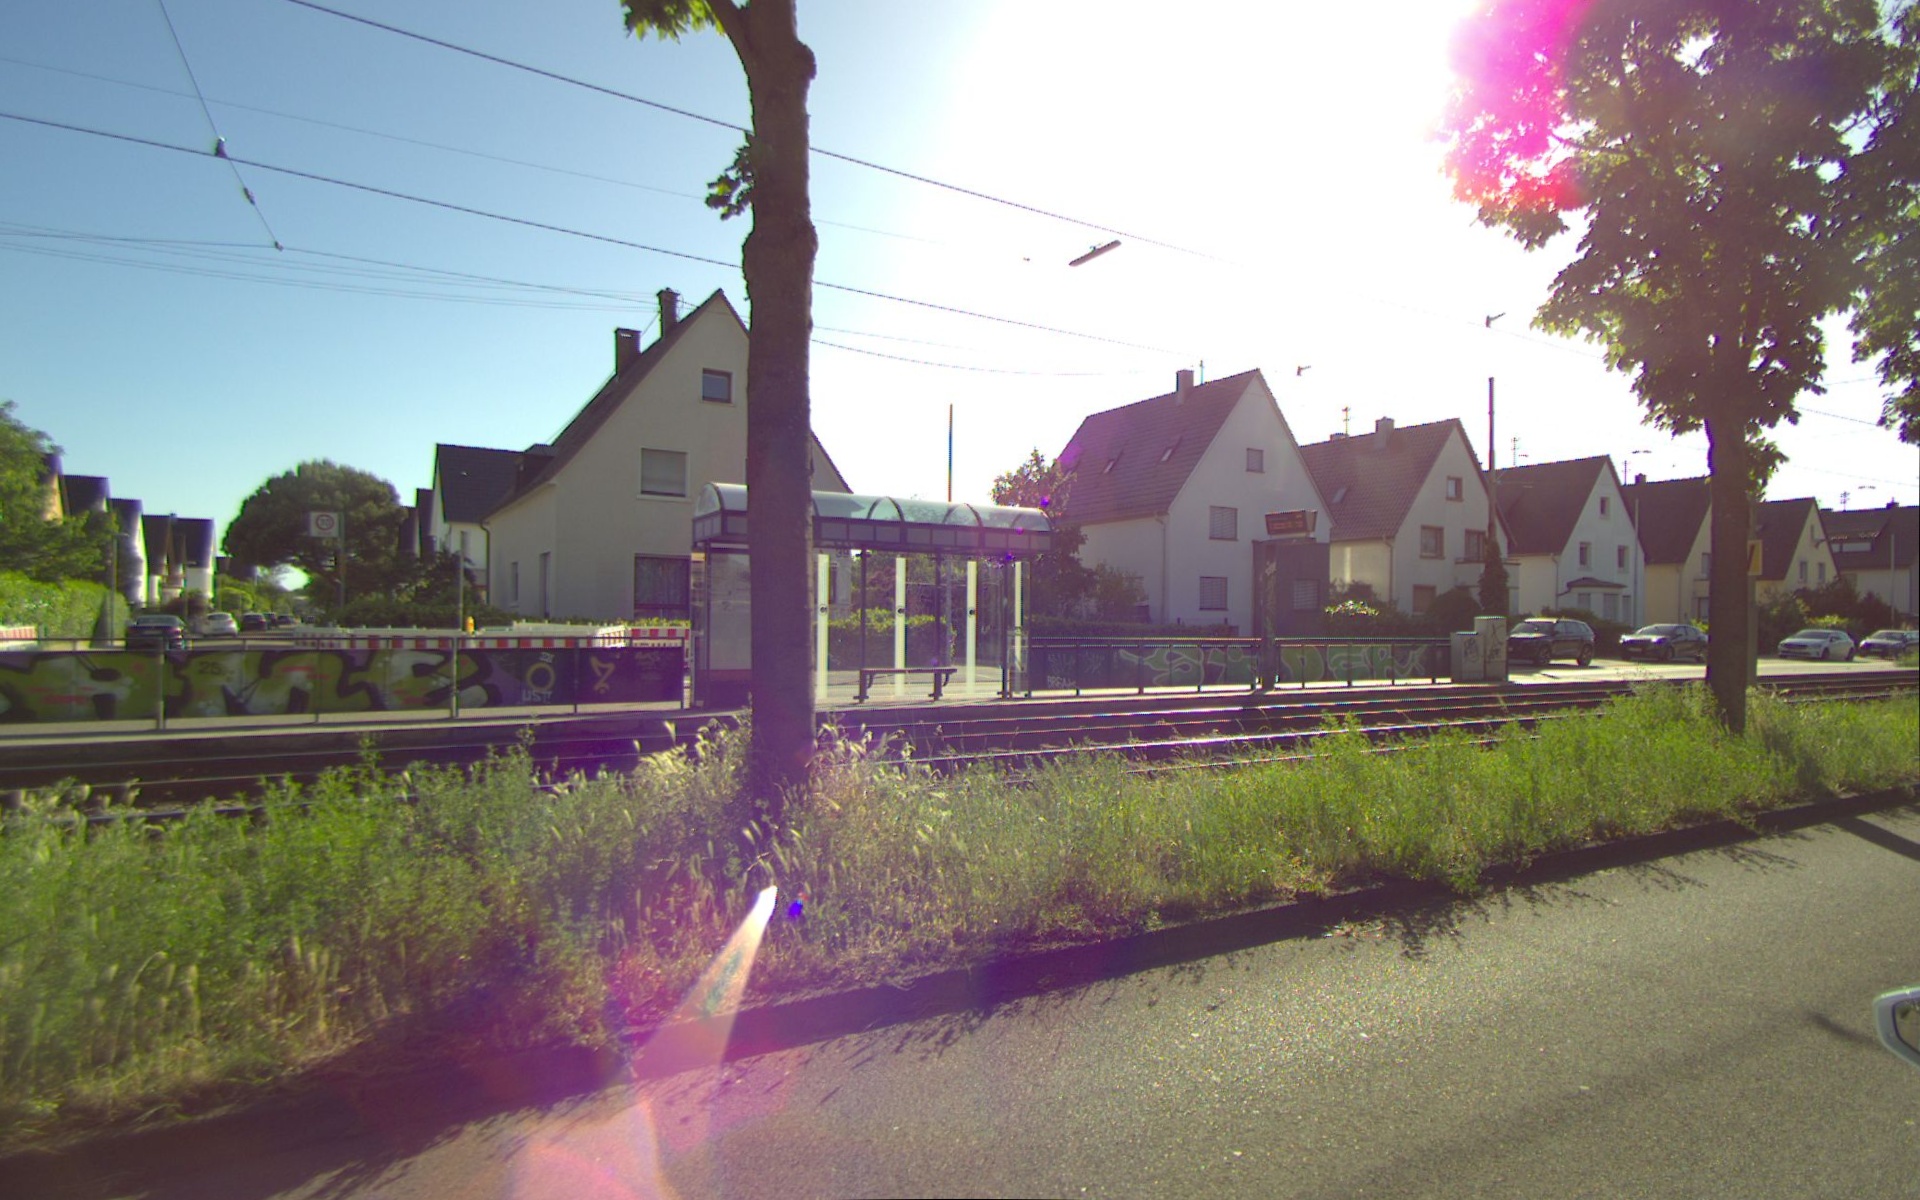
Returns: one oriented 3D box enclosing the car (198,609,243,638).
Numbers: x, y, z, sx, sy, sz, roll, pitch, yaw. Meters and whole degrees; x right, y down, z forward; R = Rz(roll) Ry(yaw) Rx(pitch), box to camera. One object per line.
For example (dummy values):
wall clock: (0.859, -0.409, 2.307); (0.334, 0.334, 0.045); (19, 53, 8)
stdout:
car: (-44.446, 1.403, 60.451); (1.979, 1.606, 3.962); (1, 0, -34)

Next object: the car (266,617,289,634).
car: (-72.428, 2.675, 106.616); (1.979, 1.606, 3.962); (1, 0, -34)

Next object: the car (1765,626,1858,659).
car: (40.995, 2.038, 48.357); (4.356, 1.445, 1.985); (2, 0, -29)

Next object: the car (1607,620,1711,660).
car: (28.699, 1.642, 41.200); (4.206, 1.515, 1.916); (2, 0, -31)

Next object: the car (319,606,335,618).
car: (-99.470, 1.883, 157.843); (1.979, 1.606, 3.962); (1, 0, -34)

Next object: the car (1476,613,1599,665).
car: (21.099, 1.405, 36.672); (4.340, 1.736, 1.984); (2, 0, -31)

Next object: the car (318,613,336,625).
car: (-90.476, 2.671, 143.522); (1.979, 1.606, 3.962); (1, 0, -34)

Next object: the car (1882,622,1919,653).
car: (52.708, 2.070, 55.154); (4.009, 1.574, 1.937); (2, 0, -31)

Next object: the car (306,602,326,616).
car: (-79.357, 1.046, 123.779); (1.979, 1.606, 3.962); (1, 0, -34)

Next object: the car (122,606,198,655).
car: (-29.421, 1.090, 37.048); (1.830, 1.606, 3.962); (1, 0, -34)

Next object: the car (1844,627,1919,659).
car: (48.492, 2.244, 52.674); (4.080, 1.469, 1.983); (2, 2, -31)

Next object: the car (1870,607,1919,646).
car: (67.680, 1.858, 70.729); (2.077, 2.660, 5.005); (0, 0, -30)

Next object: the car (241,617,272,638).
car: (-58.640, 2.297, 83.747); (1.979, 1.606, 3.962); (1, 0, -34)
